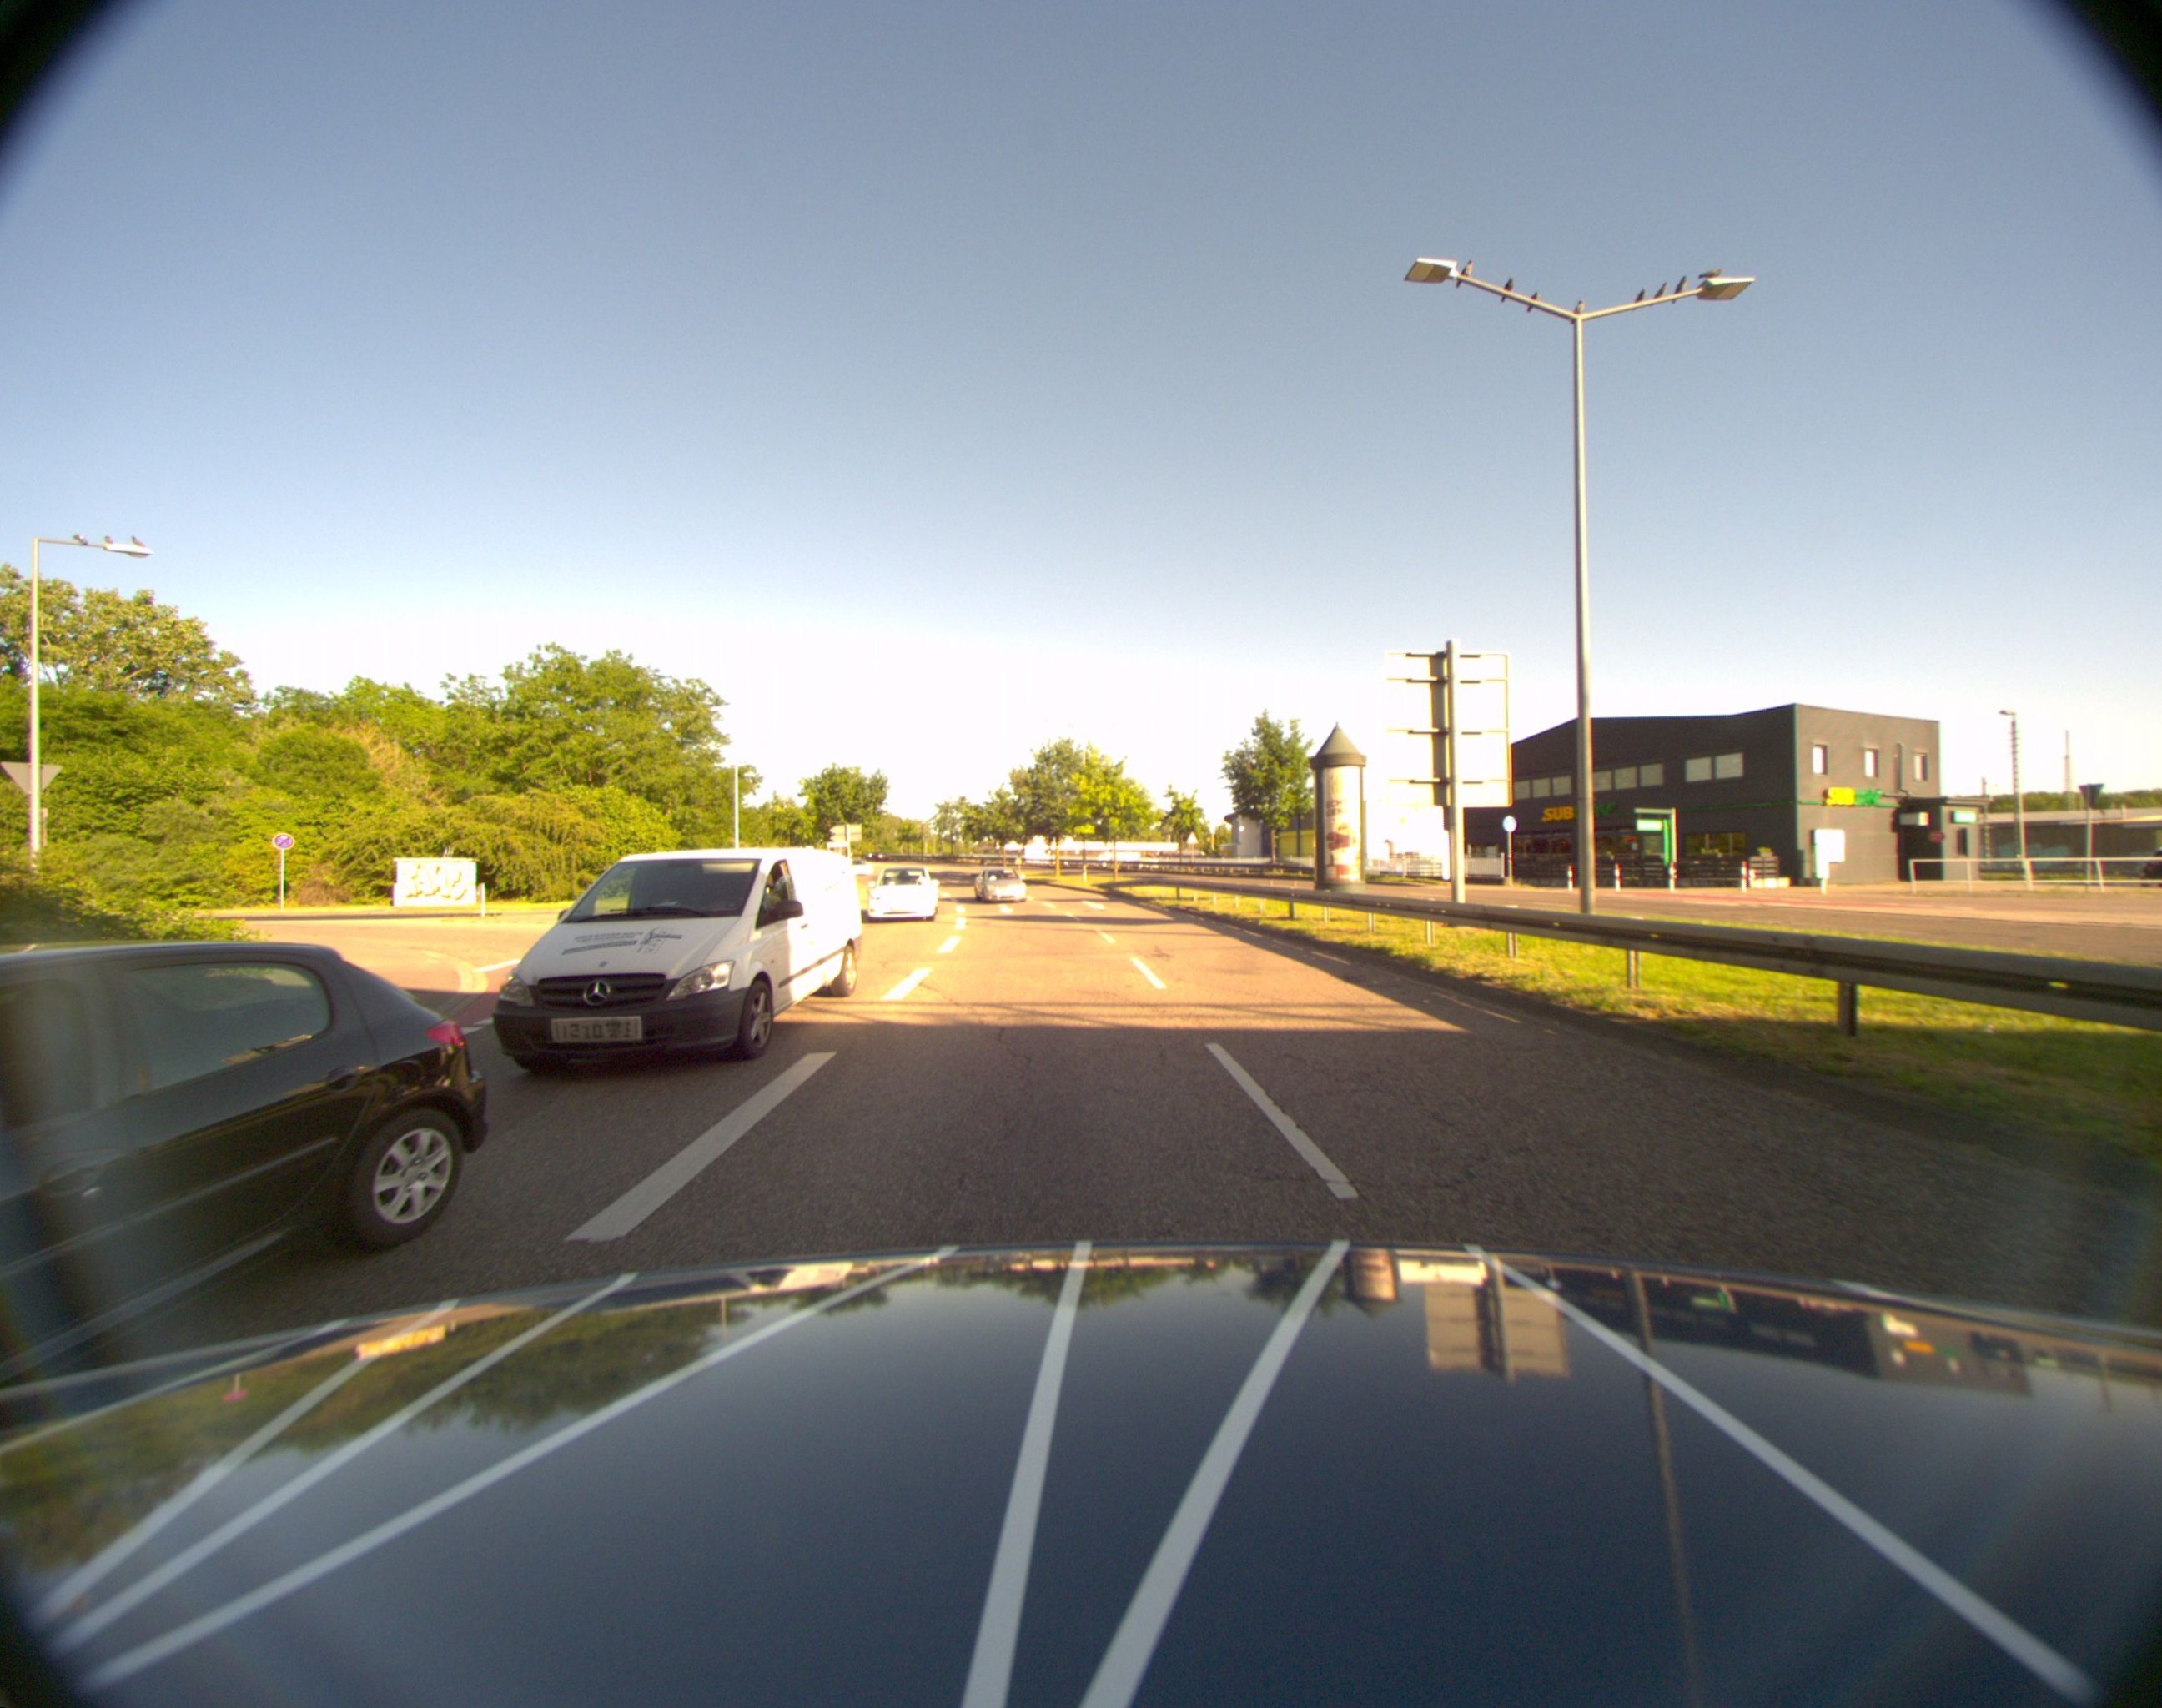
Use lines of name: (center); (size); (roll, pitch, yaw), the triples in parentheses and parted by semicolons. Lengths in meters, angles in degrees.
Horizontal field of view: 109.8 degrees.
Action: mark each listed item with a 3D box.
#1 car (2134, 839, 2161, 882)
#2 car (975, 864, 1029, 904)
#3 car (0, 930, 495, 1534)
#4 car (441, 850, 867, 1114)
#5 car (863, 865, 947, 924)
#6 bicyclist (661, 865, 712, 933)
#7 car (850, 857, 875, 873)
car: (40.059, 0.208, 27.642); (4.006, 1.434, 1.879); (-3, 1, -34)
car: (-3.441, 1.217, 32.411); (1.703, 1.446, 4.392); (-2, 1, -13)
car: (-3.780, 1.116, 1.830); (1.750, 1.447, 3.717); (-2, 0, 1)
car: (-3.763, 0.972, 7.920); (1.903, 1.825, 4.834); (-2, -1, -4)
car: (-5.379, 1.172, 23.789); (2.000, 1.542, 4.418); (-2, 0, -6)
bicyclist: (-10.100, 1.132, 19.489); (0.748, 1.646, 0.886); (-2, 1, 3)
car: (-20.857, 1.001, 72.573); (1.775, 1.433, 3.992); (-1, 0, -23)
